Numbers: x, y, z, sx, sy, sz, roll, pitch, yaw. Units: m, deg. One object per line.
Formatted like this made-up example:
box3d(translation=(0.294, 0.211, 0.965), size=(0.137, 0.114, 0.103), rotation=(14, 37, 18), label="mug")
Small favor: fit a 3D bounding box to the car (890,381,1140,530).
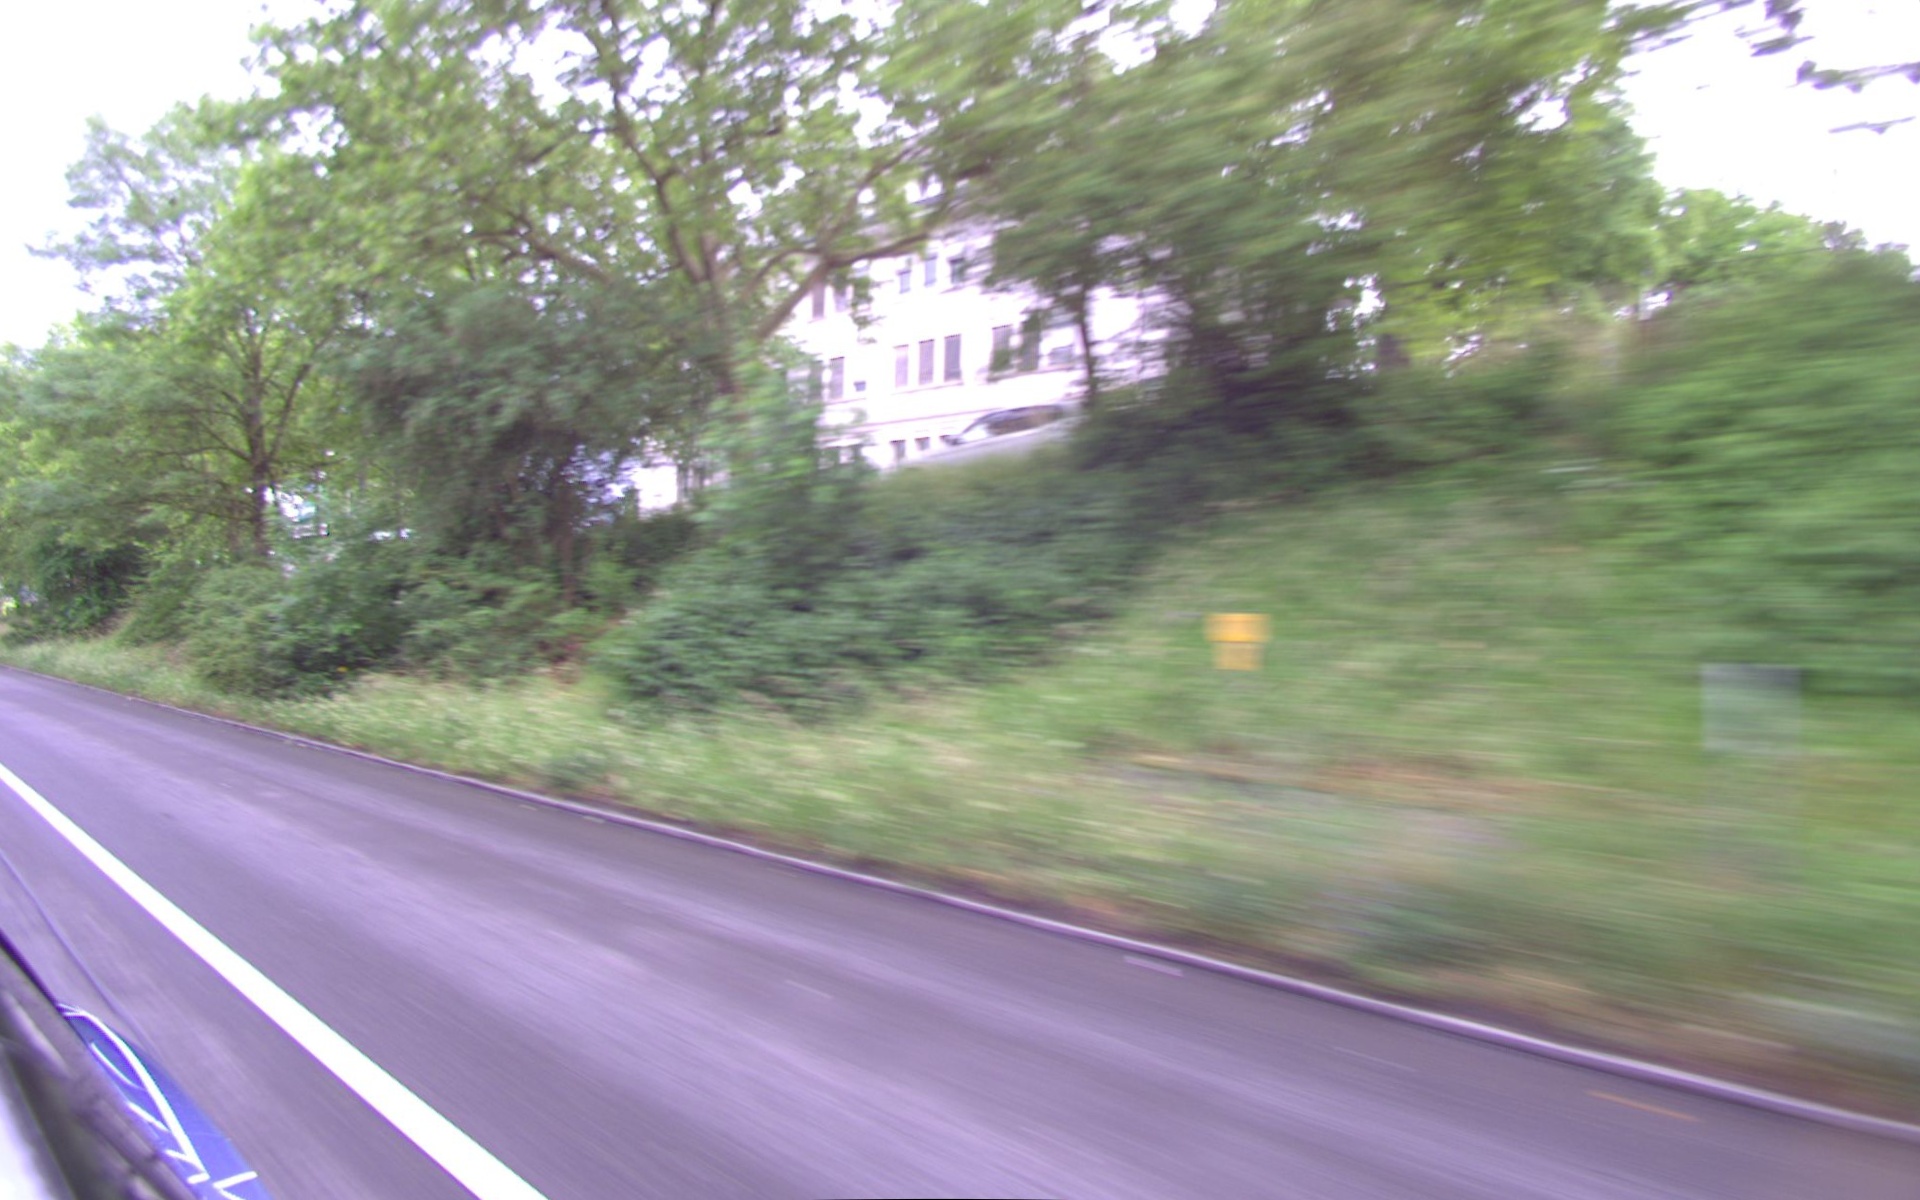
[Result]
box3d(translation=(0.929, -2.410, 17.930), size=(3.992, 2.029, 1.976), rotation=(-1, 0, 36), label="car")
